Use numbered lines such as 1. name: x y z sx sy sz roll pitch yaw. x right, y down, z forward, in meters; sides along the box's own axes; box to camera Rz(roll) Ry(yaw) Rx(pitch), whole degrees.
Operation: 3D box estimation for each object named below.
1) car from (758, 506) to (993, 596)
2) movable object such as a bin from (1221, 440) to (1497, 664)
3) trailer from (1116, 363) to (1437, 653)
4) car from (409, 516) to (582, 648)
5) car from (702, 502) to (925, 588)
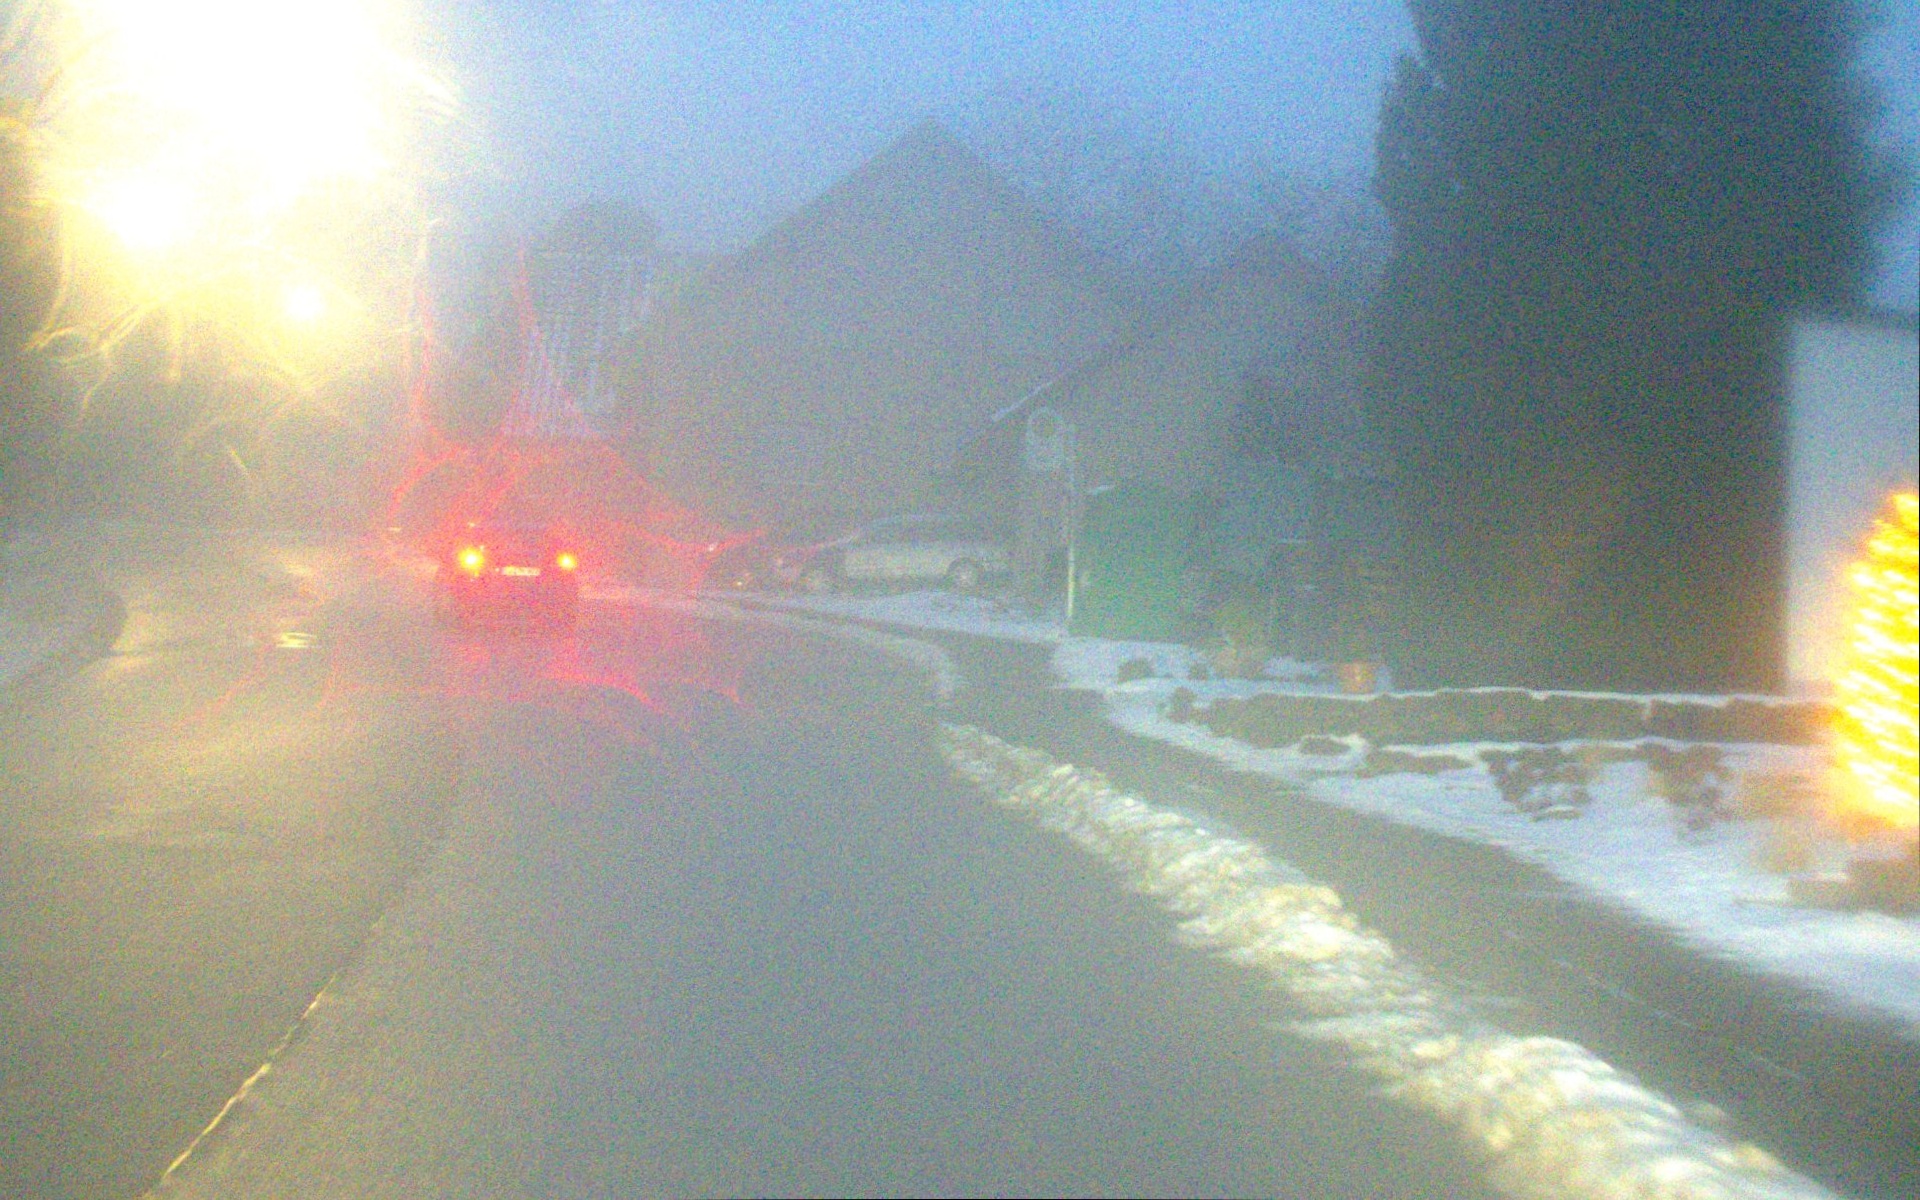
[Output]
1. car: -1.548 -0.893 63.397 4.242 1.554 2.000 0 -1 -1
2. movable object such as a bin: 4.717 -0.566 41.372 2.386 2.460 4.516 2 0 -4
3. trailer: 4.126 -1.182 45.944 2.874 3.548 5.063 2 0 -11
4. car: -6.531 -0.211 48.032 1.993 1.731 3.879 1 -1 -14
5. car: -2.847 -1.047 66.264 4.157 1.554 1.946 0 -1 -6
